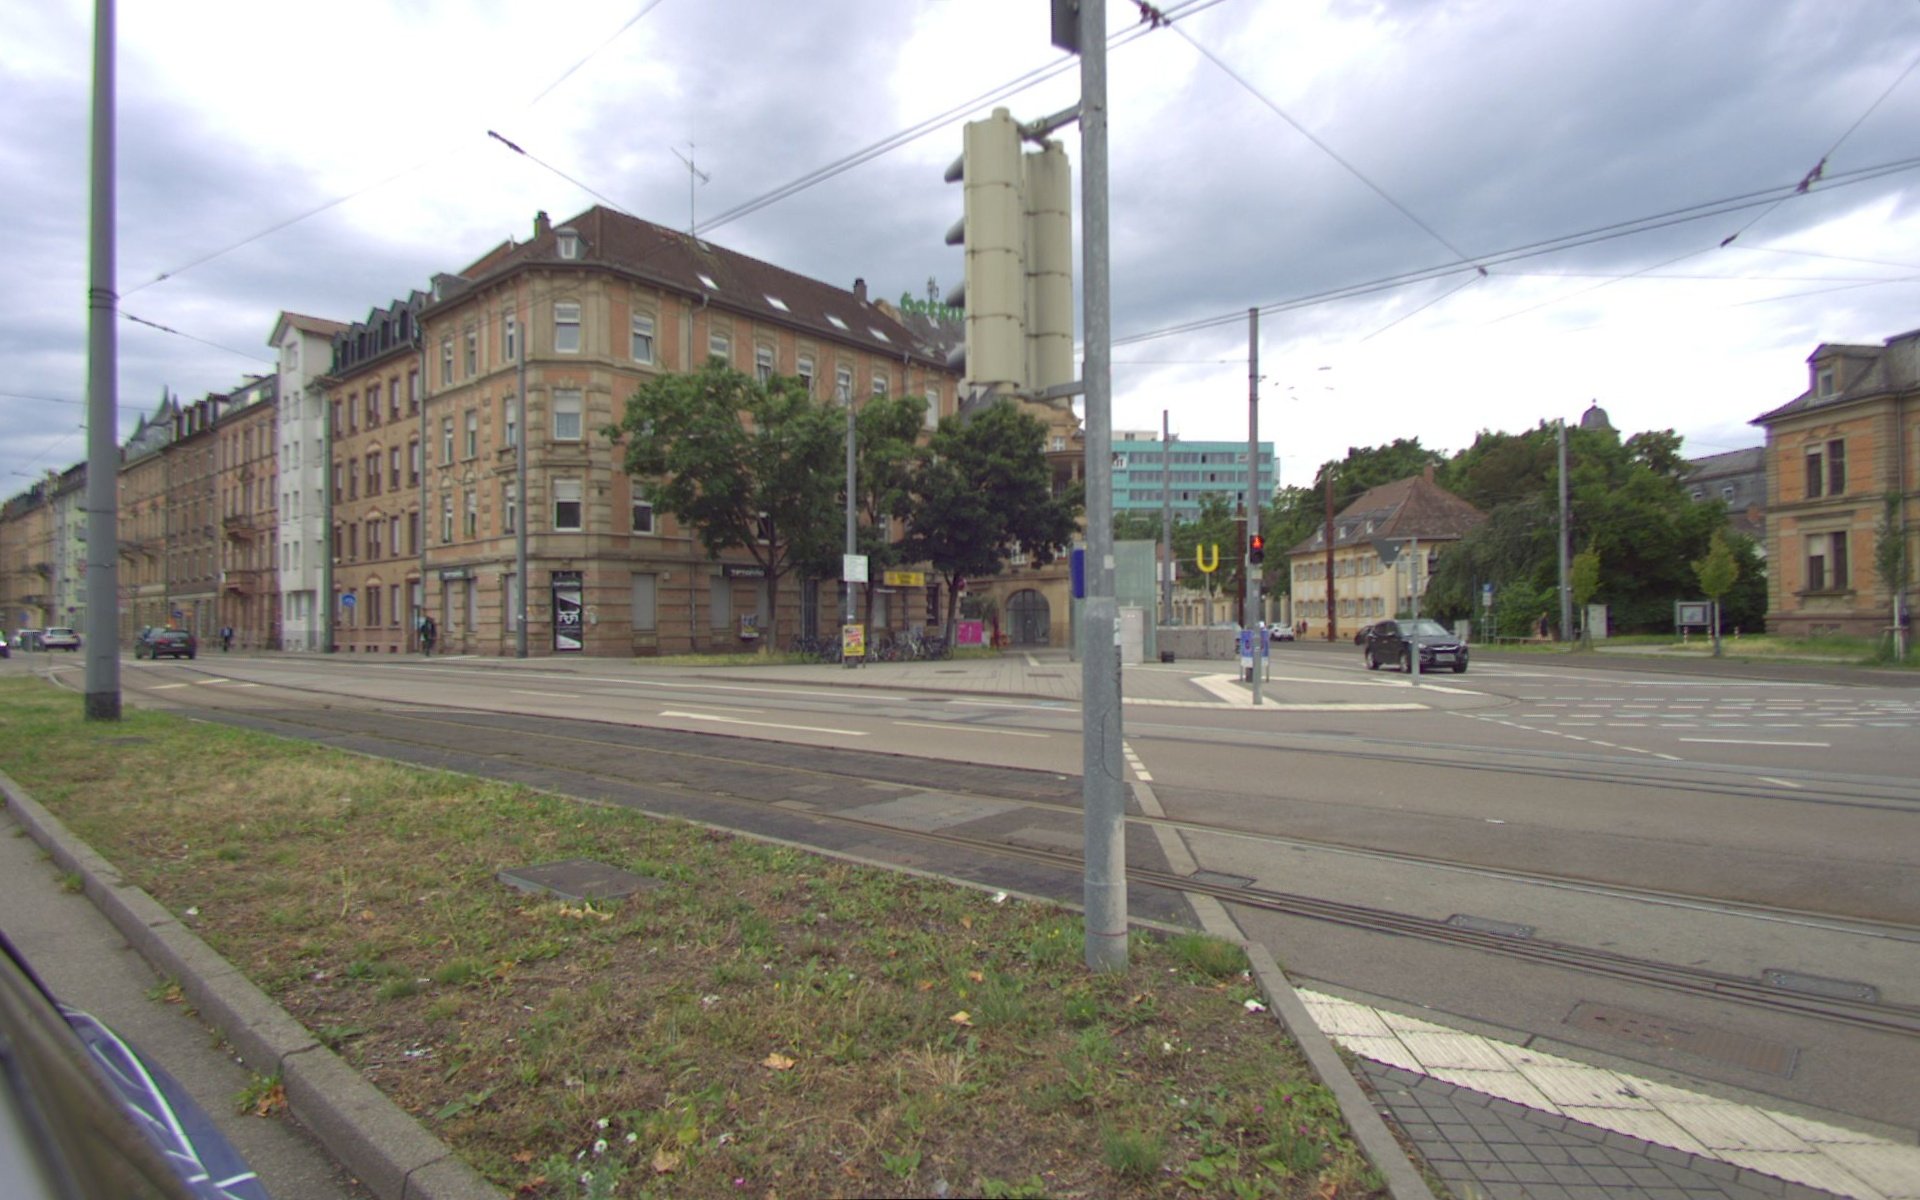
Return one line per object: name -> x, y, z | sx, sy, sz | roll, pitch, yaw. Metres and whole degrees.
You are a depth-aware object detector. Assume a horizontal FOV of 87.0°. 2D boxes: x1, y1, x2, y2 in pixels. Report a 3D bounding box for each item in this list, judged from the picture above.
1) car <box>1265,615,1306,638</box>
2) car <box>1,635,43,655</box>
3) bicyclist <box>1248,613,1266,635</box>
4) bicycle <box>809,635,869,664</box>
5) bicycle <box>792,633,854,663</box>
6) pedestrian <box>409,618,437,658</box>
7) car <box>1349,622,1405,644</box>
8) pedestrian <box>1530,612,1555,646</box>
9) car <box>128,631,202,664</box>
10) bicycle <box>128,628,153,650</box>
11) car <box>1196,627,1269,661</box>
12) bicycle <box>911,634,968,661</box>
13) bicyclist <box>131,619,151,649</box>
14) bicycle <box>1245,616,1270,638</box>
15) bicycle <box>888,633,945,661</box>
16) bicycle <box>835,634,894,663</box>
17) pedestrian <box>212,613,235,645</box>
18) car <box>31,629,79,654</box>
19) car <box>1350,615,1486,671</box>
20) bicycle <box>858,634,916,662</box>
car -> 27.402, 2.238, 85.355 | 1.971, 1.863, 4.001 | -1, -1, -2
car -> -71.506, 3.437, 77.101 | 4.013, 1.442, 1.792 | -2, -2, 39
bicyclist -> 24.535, 1.954, 83.579 | 1.077, 1.796, 1.017 | -1, -1, -1
bicycle -> -4.401, 1.780, 36.710 | 2.395, 1.038, 0.744 | -2, -2, 41
bicycle -> -4.908, 1.701, 36.092 | 2.395, 1.038, 0.826 | -2, -2, 41
pedestrian -> -22.960, 1.610, 43.244 | 0.797, 1.688, 0.802 | -2, -2, 37
car -> 28.079, 2.207, 68.327 | 1.971, 1.442, 4.001 | -1, -2, -2
pedestrian -> 31.661, 1.589, 55.011 | 0.797, 1.846, 0.851 | 0, -1, -9
car -> -38.355, 2.269, 48.797 | 4.459, 1.481, 1.865 | -2, -2, 39
bicycle -> -51.524, 2.446, 63.625 | 2.409, 1.302, 0.788 | -2, -2, 41
car -> 14.807, 2.347, 55.374 | 2.129, 1.727, 4.932 | -1, -1, -7
bicycle -> -0.820, 1.904, 40.521 | 2.395, 1.038, 0.744 | -2, -2, 41
bicyclist -> -51.456, 2.129, 63.573 | 0.923, 1.881, 0.813 | -2, -2, 40
bicycle -> 24.533, 2.259, 83.520 | 1.070, 1.763, 3.087 | -1, -1, -2
bicycle -> -1.710, 1.825, 39.451 | 2.395, 1.038, 0.744 | -2, -2, 41
bicycle -> -3.564, 1.803, 37.589 | 2.395, 1.038, 0.744 | -2, -2, 41
pedestrian -> -44.048, 1.724, 60.537 | 0.712, 1.846, 0.918 | -1, -1, 5
car -> -62.074, 2.853, 69.408 | 4.226, 1.658, 1.812 | -2, -2, 39
car -> 14.270, 1.315, 31.851 | 1.969, 1.623, 4.250 | -1, -1, -6
bicycle -> -2.787, 1.800, 38.444 | 2.395, 1.038, 0.744 | -2, -2, 41
